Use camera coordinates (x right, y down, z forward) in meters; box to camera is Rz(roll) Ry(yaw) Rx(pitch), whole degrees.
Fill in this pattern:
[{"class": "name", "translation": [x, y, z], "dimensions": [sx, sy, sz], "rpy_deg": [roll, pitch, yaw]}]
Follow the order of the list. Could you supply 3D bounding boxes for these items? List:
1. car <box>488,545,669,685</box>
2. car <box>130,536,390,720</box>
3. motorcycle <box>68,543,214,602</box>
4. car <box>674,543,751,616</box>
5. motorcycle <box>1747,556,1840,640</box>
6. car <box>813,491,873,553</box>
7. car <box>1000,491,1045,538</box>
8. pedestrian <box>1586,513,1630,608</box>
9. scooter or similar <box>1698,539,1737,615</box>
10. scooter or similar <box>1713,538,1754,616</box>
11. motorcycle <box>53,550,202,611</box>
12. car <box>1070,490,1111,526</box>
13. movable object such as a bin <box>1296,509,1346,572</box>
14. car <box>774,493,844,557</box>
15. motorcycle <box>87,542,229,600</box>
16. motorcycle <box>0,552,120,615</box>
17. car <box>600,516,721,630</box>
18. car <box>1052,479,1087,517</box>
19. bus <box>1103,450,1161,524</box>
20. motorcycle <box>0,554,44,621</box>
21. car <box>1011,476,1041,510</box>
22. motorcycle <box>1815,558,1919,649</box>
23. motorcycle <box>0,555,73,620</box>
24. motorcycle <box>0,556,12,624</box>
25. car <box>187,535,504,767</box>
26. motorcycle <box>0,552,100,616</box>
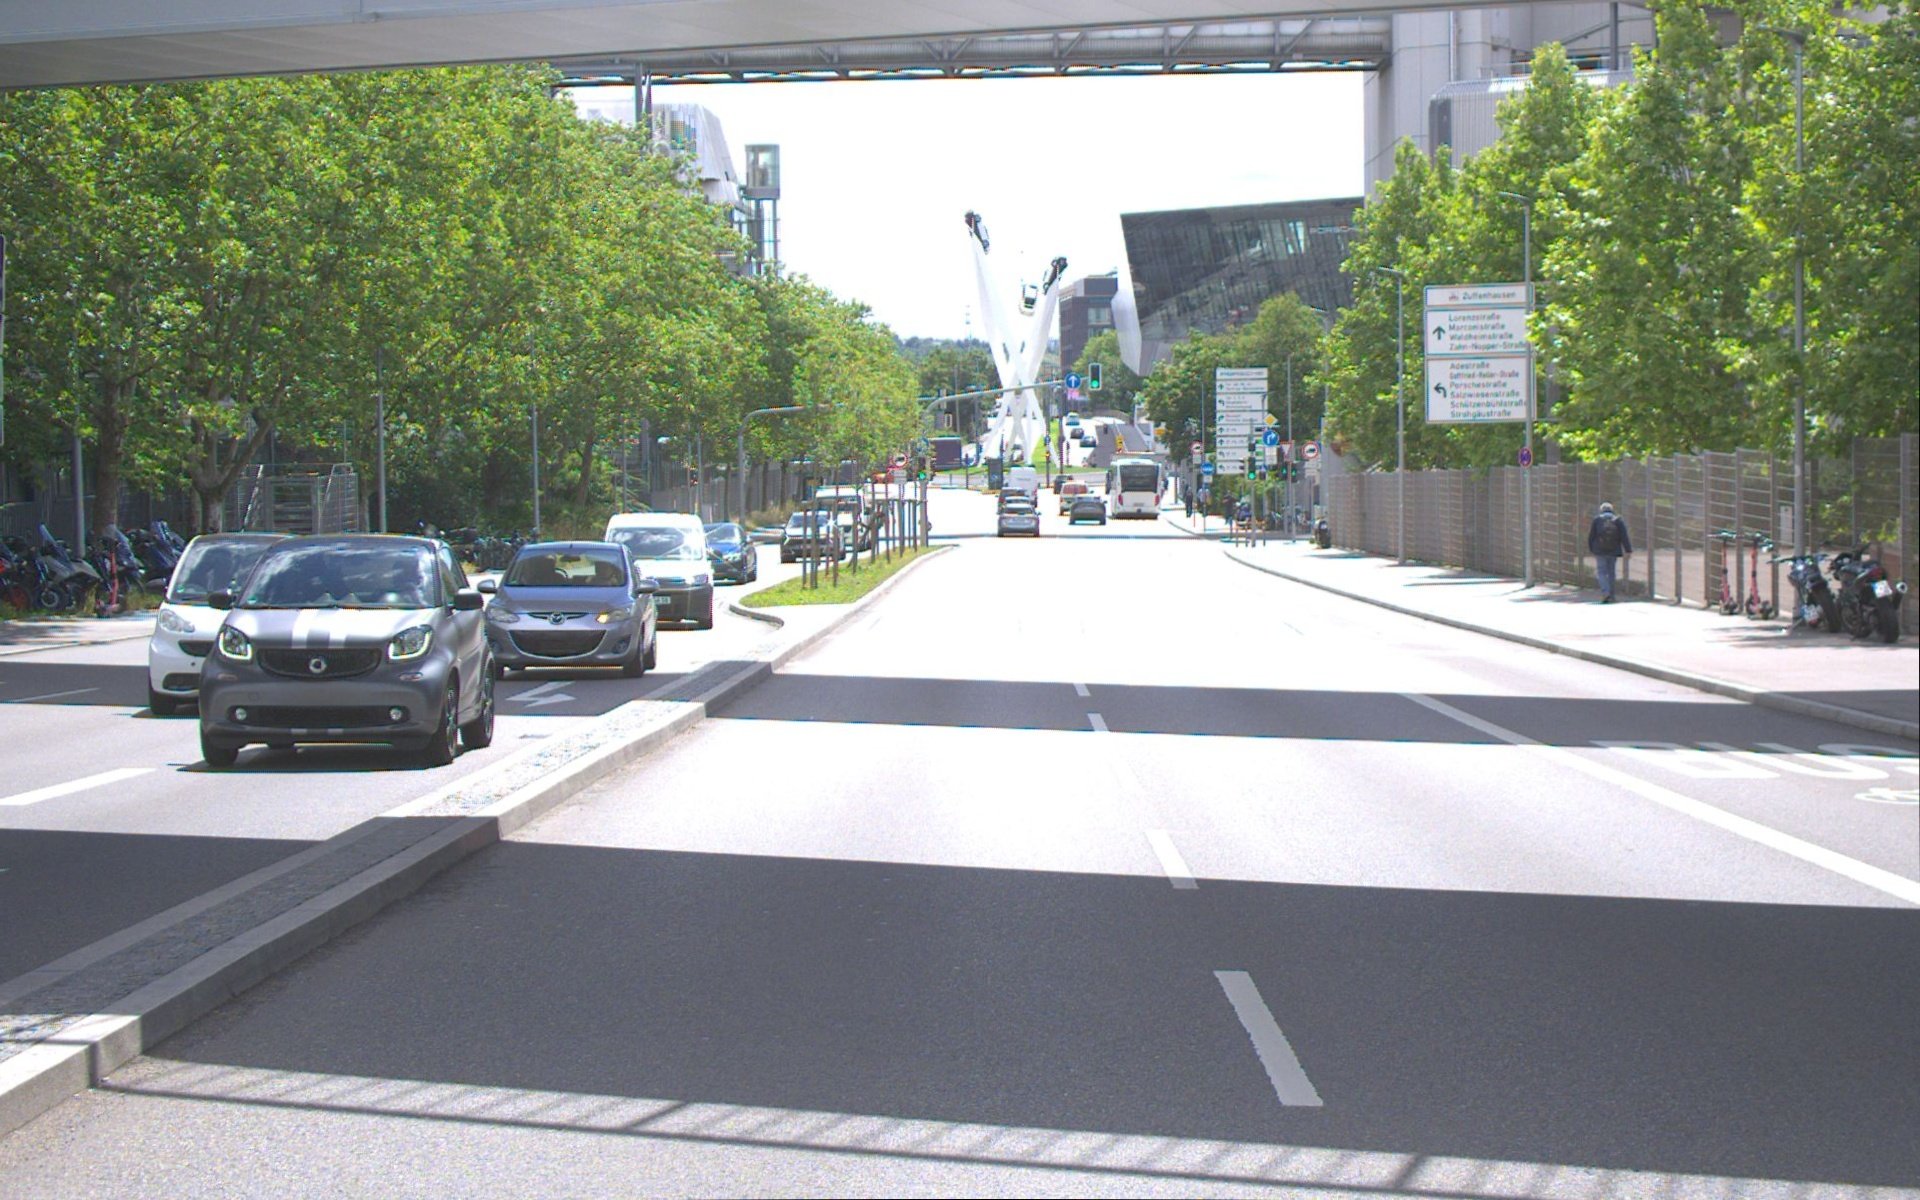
[{"class": "car", "translation": [-4.074, 0.120, 37.201], "dimensions": [1.700, 1.431, 3.925], "rpy_deg": [0, 1, -3]}, {"class": "car", "translation": [-6.211, 0.203, 30.867], "dimensions": [1.700, 1.545, 3.925], "rpy_deg": [0, 1, -3]}, {"class": "motorcycle", "translation": [-15.386, -0.518, 64.613], "dimensions": [2.578, 1.103, 0.794], "rpy_deg": [0, 1, 13]}, {"class": "car", "translation": [-5.828, -0.509, 81.270], "dimensions": [1.700, 1.692, 3.925], "rpy_deg": [0, 1, -3]}, {"class": "motorcycle", "translation": [11.097, -0.039, 45.828], "dimensions": [0.563, 1.025, 2.629], "rpy_deg": [-2, 2, 0]}, {"class": "car", "translation": [-4.326, -2.877, 127.742], "dimensions": [1.993, 2.248, 4.326], "rpy_deg": [0, 1, 1]}, {"class": "car", "translation": [2.703, -3.733, 150.269], "dimensions": [1.929, 1.765, 4.001], "rpy_deg": [-1, 5, 1]}, {"class": "pedestrian", "translation": [11.456, -0.700, 60.761], "dimensions": [0.620, 1.612, 0.747], "rpy_deg": [-1, 5, -1]}, {"class": "scooter or similar", "translation": [11.891, -0.364, 53.988], "dimensions": [0.368, 1.173, 1.133], "rpy_deg": [0, 1, 0]}, {"class": "scooter or similar", "translation": [11.762, -0.352, 52.280], "dimensions": [0.368, 1.173, 1.133], "rpy_deg": [0, 1, 0]}, {"class": "motorcycle", "translation": [-15.274, -0.361, 63.101], "dimensions": [2.578, 1.103, 0.794], "rpy_deg": [0, 1, 13]}, {"class": "car", "translation": [6.860, -4.845, 181.081], "dimensions": [1.993, 1.853, 4.000], "rpy_deg": [-1, 1, 0]}, {"class": "movable object such as a bin", "translation": [12.221, -2.002, 116.360], "dimensions": [1.665, 2.125, 1.278], "rpy_deg": [0, 1, 6]}, {"class": "car", "translation": [-4.822, -2.409, 110.151], "dimensions": [1.993, 2.007, 4.000], "rpy_deg": [-1, 1, 1]}, {"class": "motorcycle", "translation": [-15.486, -0.564, 66.376], "dimensions": [2.578, 1.103, 0.794], "rpy_deg": [0, 1, 13]}, {"class": "motorcycle", "translation": [-15.564, -0.285, 58.181], "dimensions": [2.552, 1.047, 0.674], "rpy_deg": [0, 1, 7]}, {"class": "car", "translation": [-4.599, -0.440, 53.193], "dimensions": [1.700, 1.692, 3.925], "rpy_deg": [0, 1, -3]}, {"class": "car", "translation": [6.544, -6.082, 205.080], "dimensions": [1.993, 2.006, 4.001], "rpy_deg": [-1, 5, 1]}, {"class": "bus", "translation": [9.902, -6.584, 198.887], "dimensions": [2.796, 3.739, 9.472], "rpy_deg": [-1, 5, 0]}, {"class": "motorcycle", "translation": [-15.850, -0.197, 54.406], "dimensions": [2.552, 1.047, 0.674], "rpy_deg": [0, 1, 7]}, {"class": "car", "translation": [4.323, -7.070, 226.064], "dimensions": [1.873, 2.006, 3.694], "rpy_deg": [-1, 5, 0]}, {"class": "motorcycle", "translation": [11.193, 0.022, 42.509], "dimensions": [0.563, 1.025, 2.629], "rpy_deg": [-2, 2, 0]}, {"class": "motorcycle", "translation": [-15.689, -0.205, 55.585], "dimensions": [2.552, 1.047, 0.674], "rpy_deg": [0, 1, 7]}, {"class": "motorcycle", "translation": [-16.024, -0.153, 53.189], "dimensions": [2.552, 1.047, 0.674], "rpy_deg": [0, 1, 7]}, {"class": "car", "translation": [-4.213, 0.304, 23.969], "dimensions": [1.700, 1.516, 3.074], "rpy_deg": [0, 1, -1]}, {"class": "motorcycle", "translation": [-15.550, -0.264, 56.766], "dimensions": [2.552, 1.047, 0.674], "rpy_deg": [0, 1, 7]}]
